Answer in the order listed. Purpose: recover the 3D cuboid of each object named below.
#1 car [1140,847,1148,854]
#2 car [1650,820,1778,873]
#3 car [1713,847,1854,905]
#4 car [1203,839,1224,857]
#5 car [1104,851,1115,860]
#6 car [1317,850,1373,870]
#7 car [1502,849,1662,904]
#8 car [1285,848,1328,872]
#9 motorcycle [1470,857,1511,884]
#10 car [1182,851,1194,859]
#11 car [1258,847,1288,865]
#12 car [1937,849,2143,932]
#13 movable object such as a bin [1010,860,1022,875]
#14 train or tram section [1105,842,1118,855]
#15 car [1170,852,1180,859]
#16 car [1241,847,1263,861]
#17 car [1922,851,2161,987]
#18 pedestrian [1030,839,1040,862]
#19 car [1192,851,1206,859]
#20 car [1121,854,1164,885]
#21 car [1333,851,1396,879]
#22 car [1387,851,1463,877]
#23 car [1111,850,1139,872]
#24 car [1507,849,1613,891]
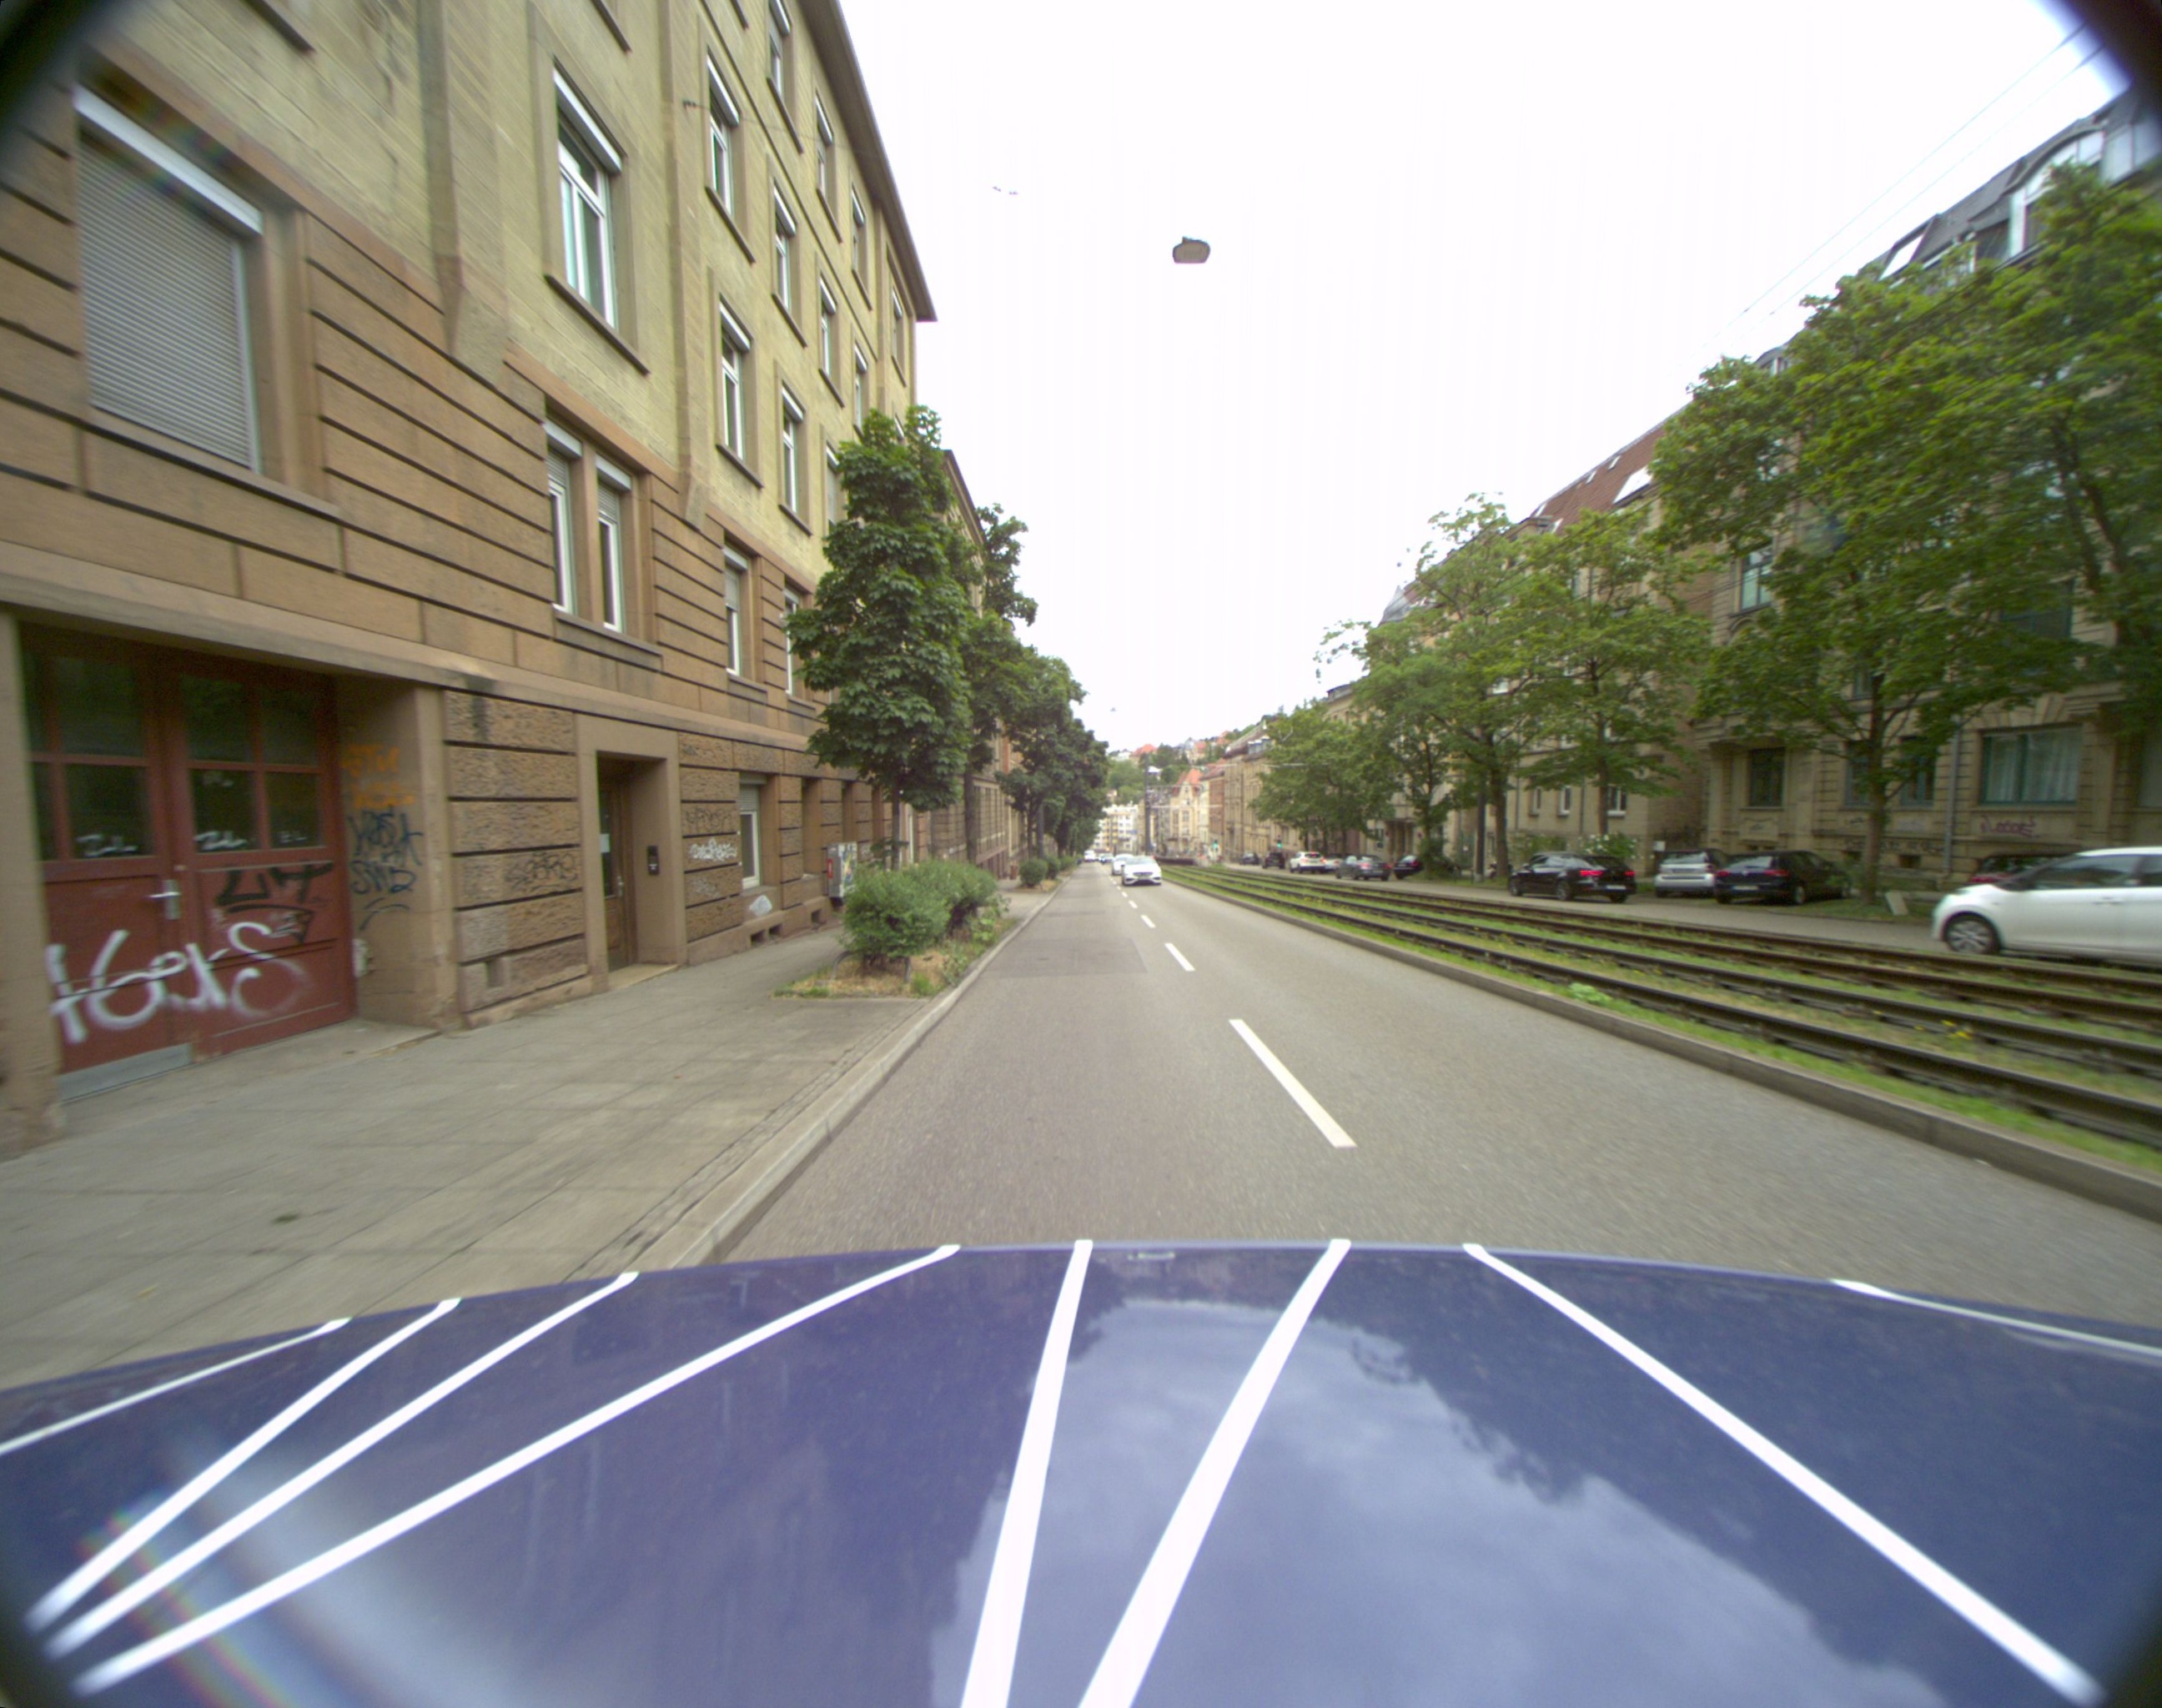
[{"bbox_3d":[20.531,-1.123,247.362,1.999,2.291,5.453,-1,0,-3],"label":"car"},{"bbox_3d":[20.209,-0.251,24.224,4.198,1.564,1.867,-1,1,-31],"label":"car"},{"bbox_3d":[19.223,0.535,20.753,4.199,1.427,1.867,-1,1,-33],"label":"car"},{"bbox_3d":[21.189,-0.941,122.001,2.398,2.684,6.518,1,1,2],"label":"car"},{"bbox_3d":[4.114,0.235,111.475,1.562,1.330,4.000,-1,0,1],"label":"car"},{"bbox_3d":[19.631,0.432,56.457,4.006,1.414,1.782,-1,1,-30],"label":"car"},{"bbox_3d":[14.958,0.604,23.053,1.870,1.427,4.493,2,1,0],"label":"car"},{"bbox_3d":[16.133,0.412,54.558,1.784,1.607,4.346,1,1,1],"label":"car"},{"bbox_3d":[18.393,0.726,34.108,2.209,1.052,0.623,-3,2,-33],"label":"motorcycle"},{"bbox_3d":[21.280,0.210,150.910,1.884,1.640,4.471,1,0,3],"label":"car"},{"bbox_3d":[17.941,0.175,71.225,1.784,1.647,4.243,1,1,1],"label":"car"},{"bbox_3d":[19.232,0.629,15.224,4.198,1.427,1.867,-1,1,-29],"label":"car"},{"bbox_3d":[-3.964,0.832,46.424,0.672,0.892,0.582,1,-1,-1],"label":"movable object such as a bin"},{"bbox_3d":[8.245,-1.353,207.364,2.968,3.456,14.407,0,0,-1],"label":"train or tram section"},{"bbox_3d":[18.218,0.221,147.331,1.580,1.369,3.655,0,0,2],"label":"car"},{"bbox_3d":[20.243,-0.014,89.971,1.884,1.640,4.471,1,0,4],"label":"car"},{"bbox_3d":[12.088,0.688,8.482,1.592,1.427,3.412,1,0,0],"label":"car"},{"bbox_3d":[-3.737,-0.295,61.541,0.687,1.820,1.121,1,3,1],"label":"pedestrian"},{"bbox_3d":[21.306,0.203,137.562,1.753,1.420,4.748,0,0,1],"label":"car"},{"bbox_3d":[2.963,0.726,37.423,1.806,1.391,4.000,-2,0,0],"label":"car"},{"bbox_3d":[15.335,0.554,41.349,1.729,1.402,4.597,1,1,1],"label":"car"},{"bbox_3d":[19.373,0.533,42.795,4.190,1.356,1.708,-1,1,-29],"label":"car"},{"bbox_3d":[3.193,0.496,55.735,1.806,1.542,4.000,-2,0,1],"label":"car"},{"bbox_3d":[18.632,0.586,29.545,4.161,1.461,1.781,-1,2,-31],"label":"car"}]
